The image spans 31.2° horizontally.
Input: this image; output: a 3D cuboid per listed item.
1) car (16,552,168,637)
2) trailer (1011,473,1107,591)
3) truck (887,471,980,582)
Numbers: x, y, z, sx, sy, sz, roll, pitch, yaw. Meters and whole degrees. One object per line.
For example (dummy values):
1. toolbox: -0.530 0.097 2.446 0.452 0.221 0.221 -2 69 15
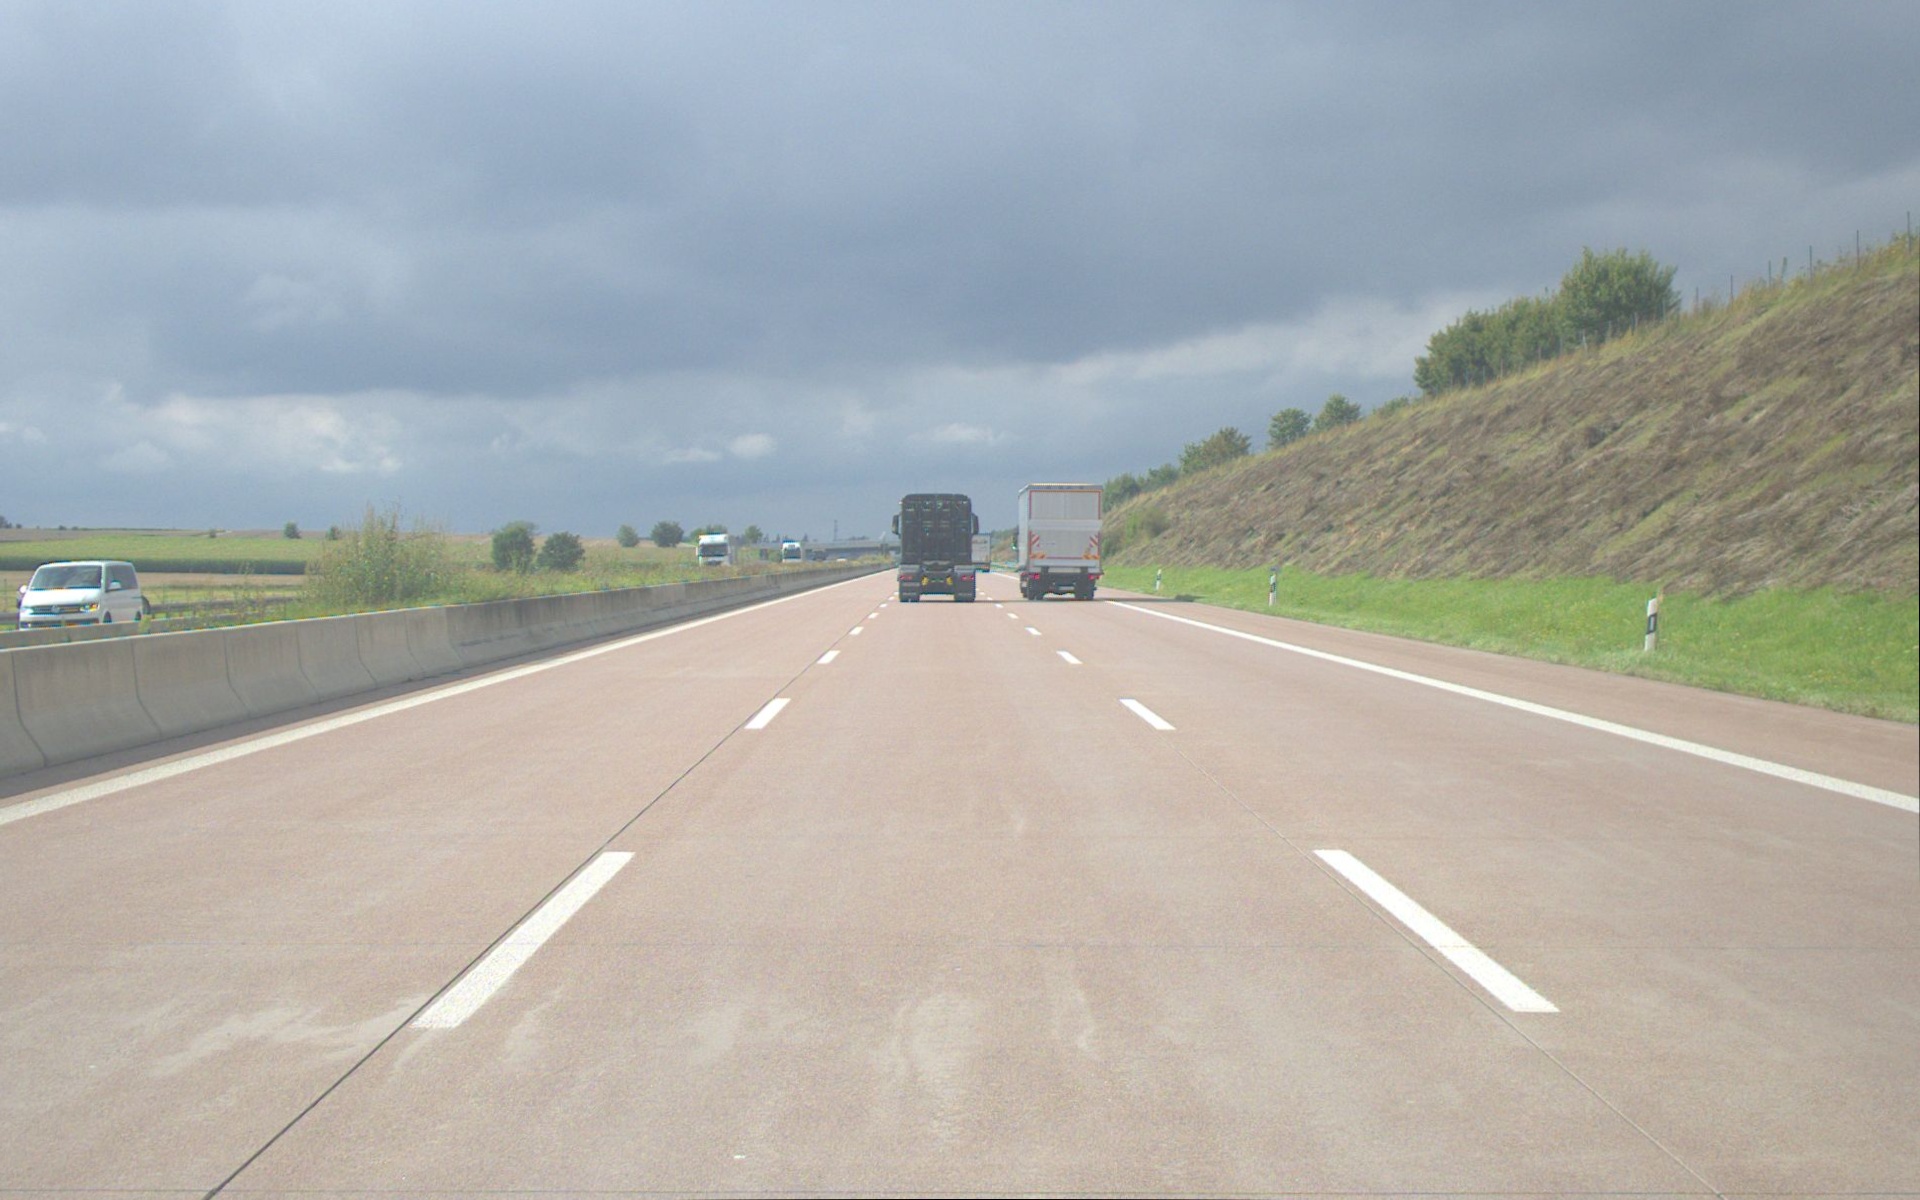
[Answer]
1. car: -19.887 -0.164 79.003 2.058 1.840 5.728 -1 1 0
2. trailer: 3.416 -2.333 120.862 2.747 3.998 8.671 0 0 -2
3. truck: -0.940 -2.406 115.030 2.847 3.537 8.320 0 0 -2
